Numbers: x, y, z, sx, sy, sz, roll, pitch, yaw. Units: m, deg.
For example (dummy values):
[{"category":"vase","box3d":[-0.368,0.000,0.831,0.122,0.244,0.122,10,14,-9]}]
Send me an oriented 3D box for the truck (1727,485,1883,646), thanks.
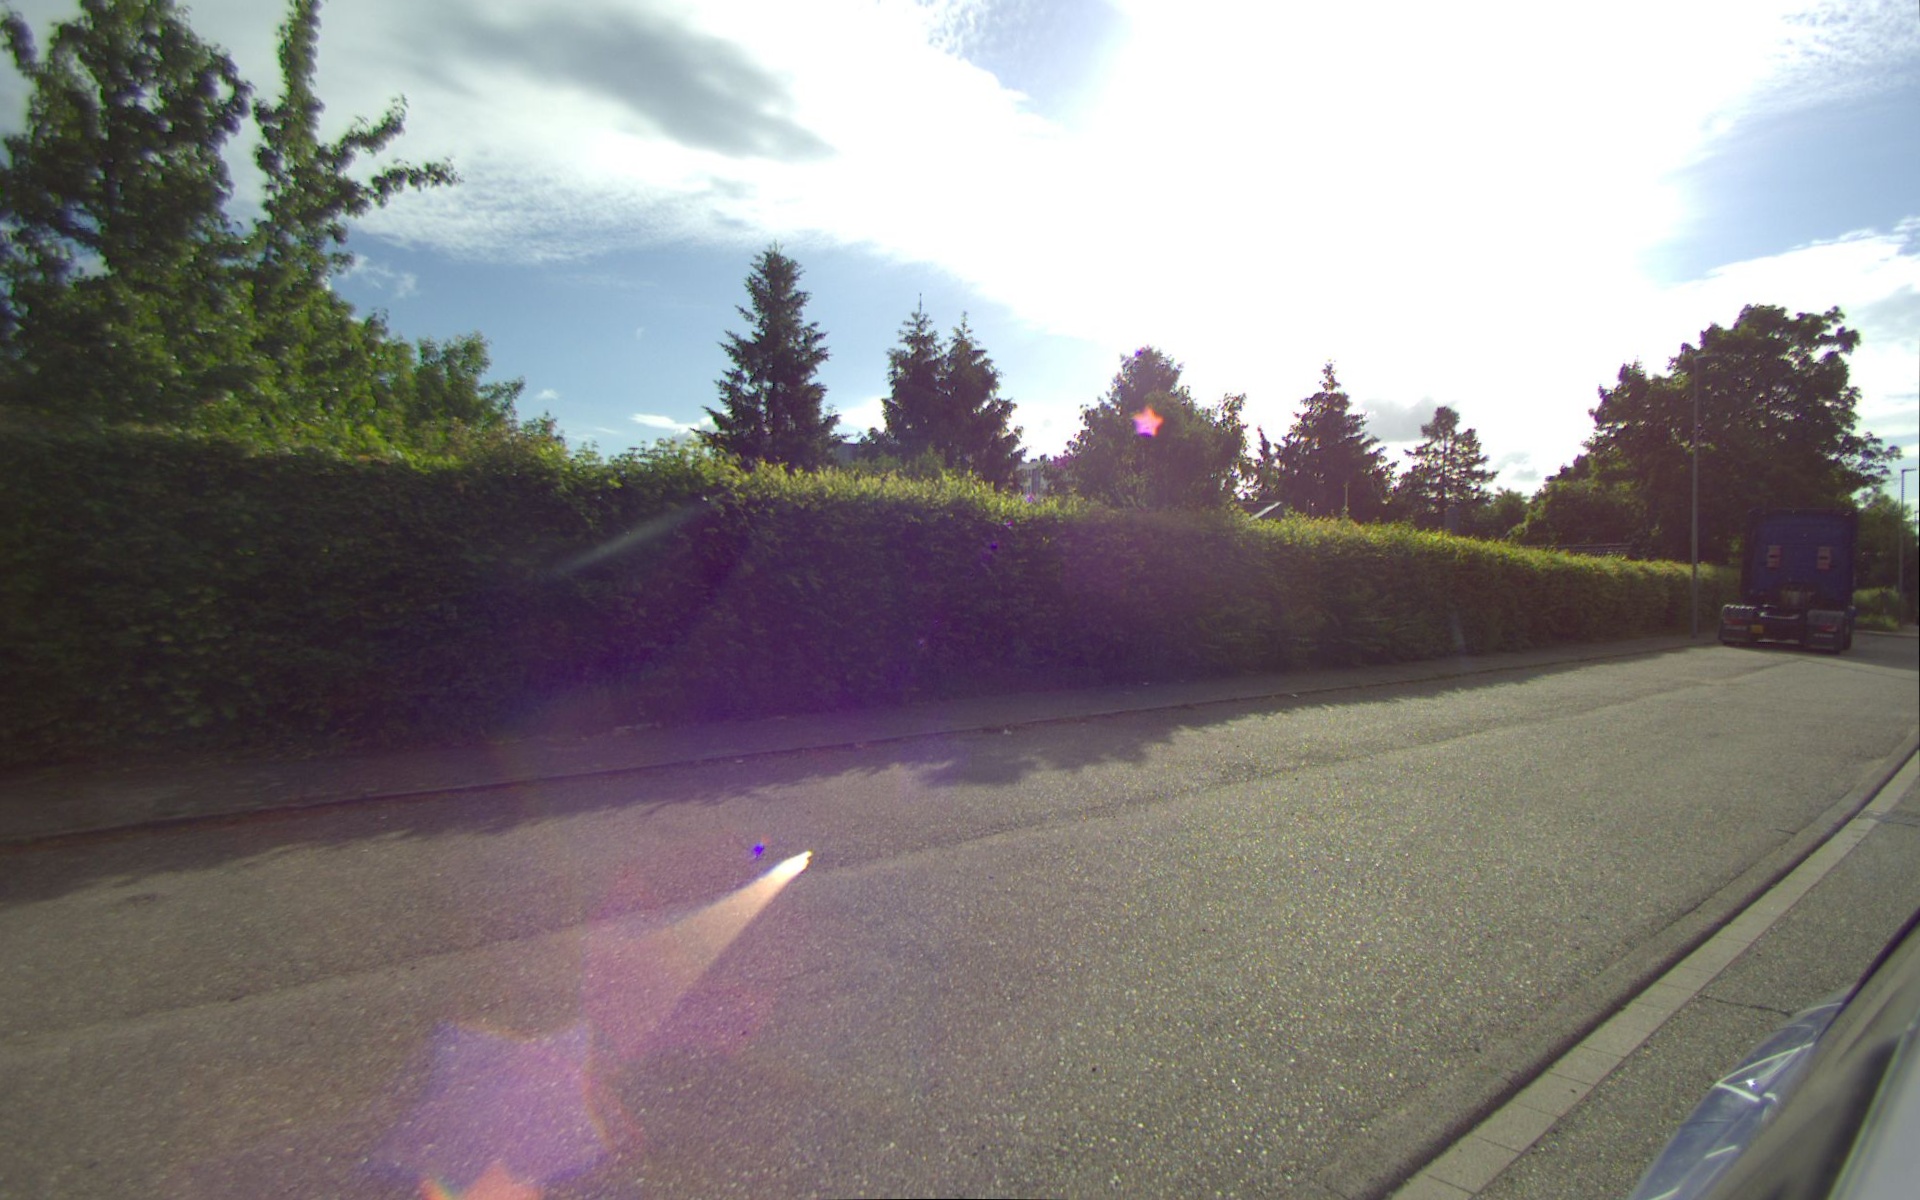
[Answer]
[{"category":"truck","box3d":[23.765,-0.972,28.350,2.598,4.006,6.182,6,4,45]}]
